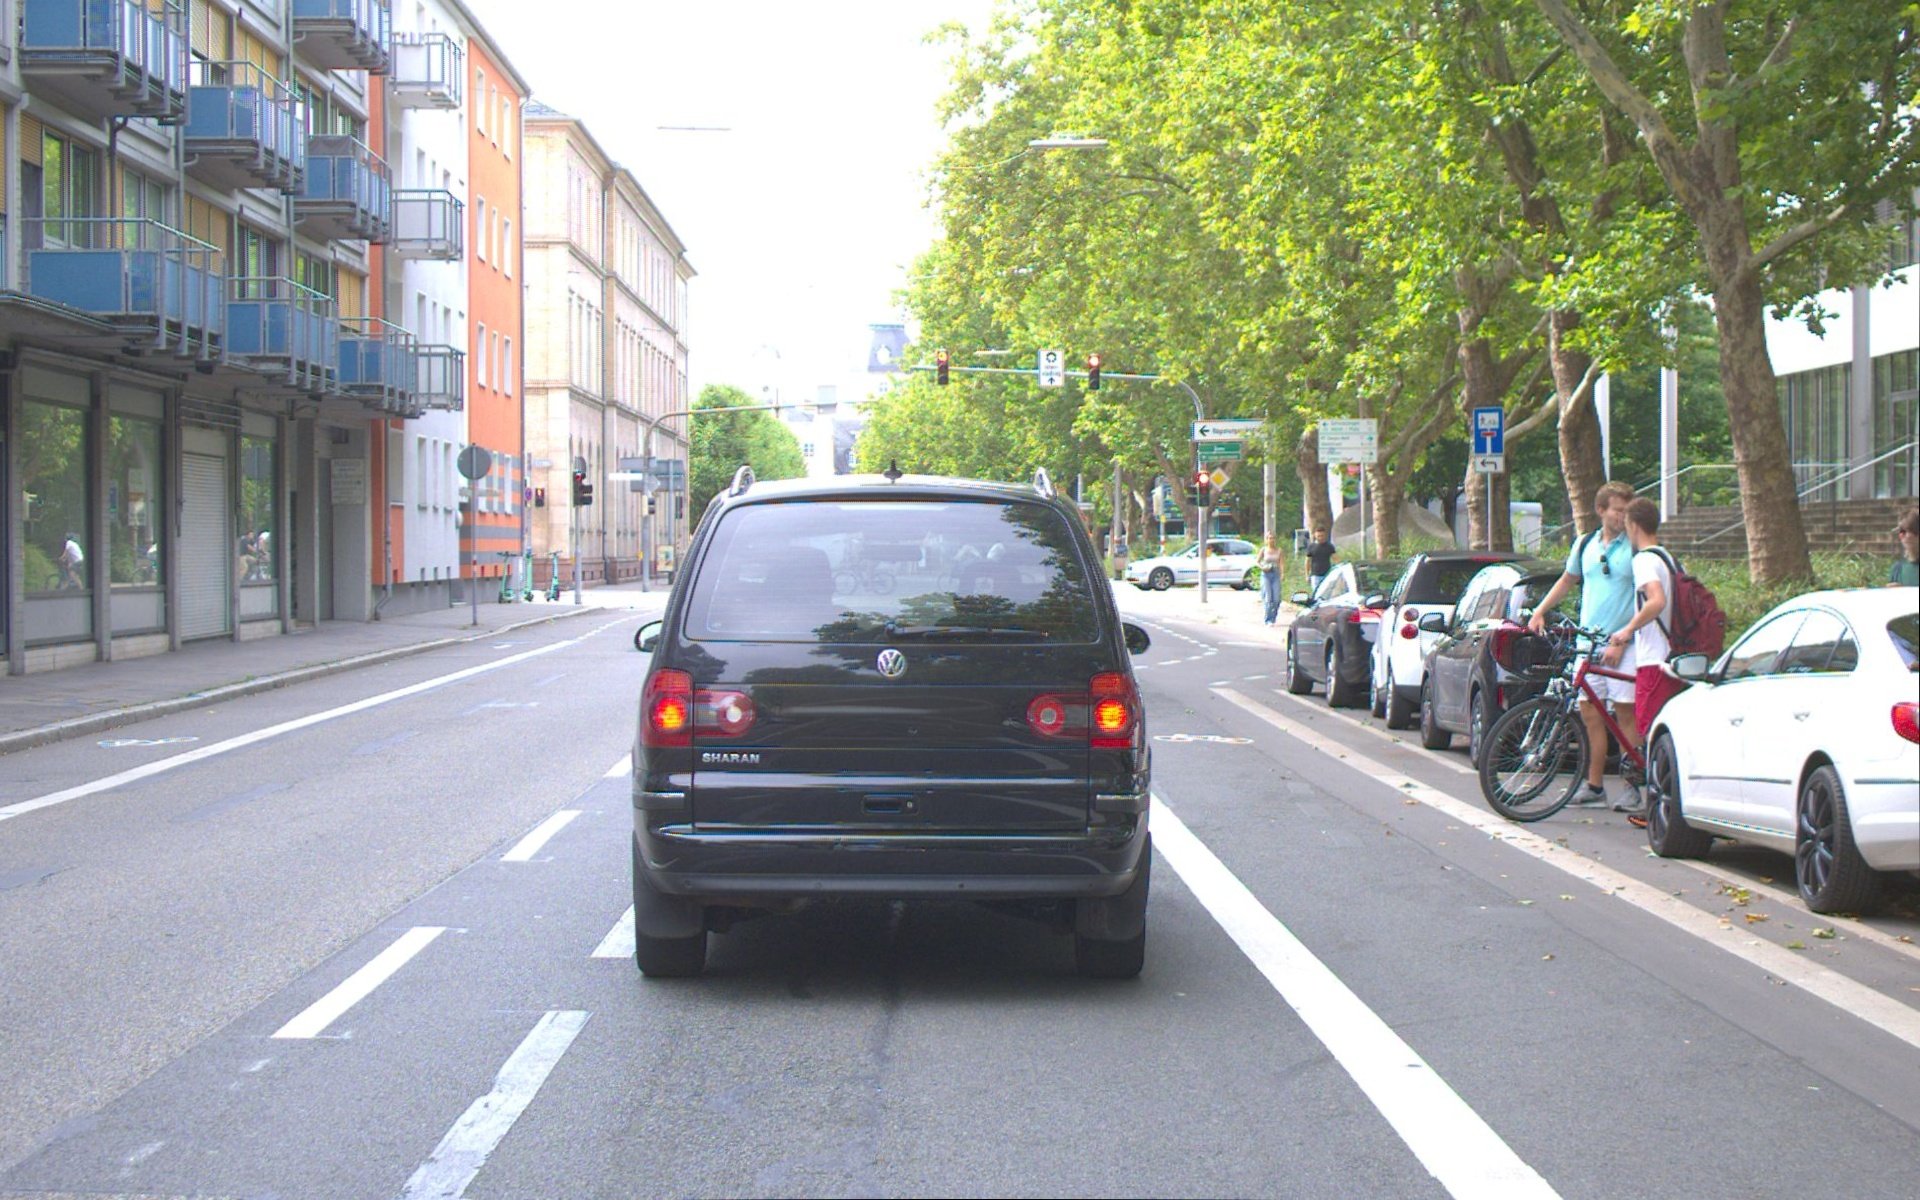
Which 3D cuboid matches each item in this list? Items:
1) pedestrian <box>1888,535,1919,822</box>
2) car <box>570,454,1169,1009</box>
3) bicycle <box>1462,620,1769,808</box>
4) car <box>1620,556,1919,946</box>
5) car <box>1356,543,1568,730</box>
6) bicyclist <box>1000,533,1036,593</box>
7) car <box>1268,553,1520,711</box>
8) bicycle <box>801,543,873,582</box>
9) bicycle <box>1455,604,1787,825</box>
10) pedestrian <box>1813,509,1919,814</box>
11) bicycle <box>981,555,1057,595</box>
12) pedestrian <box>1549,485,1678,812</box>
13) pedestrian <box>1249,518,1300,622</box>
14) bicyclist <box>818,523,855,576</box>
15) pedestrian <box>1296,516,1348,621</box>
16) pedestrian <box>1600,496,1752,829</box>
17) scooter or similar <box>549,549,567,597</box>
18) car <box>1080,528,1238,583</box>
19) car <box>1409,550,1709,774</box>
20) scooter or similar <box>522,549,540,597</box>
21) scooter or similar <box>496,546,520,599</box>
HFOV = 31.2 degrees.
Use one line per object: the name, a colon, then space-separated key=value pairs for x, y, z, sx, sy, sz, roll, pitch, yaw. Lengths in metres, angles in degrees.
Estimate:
pedestrian: x=5.893 y=0.451 z=20.088 sx=0.721 sy=1.652 sz=0.655 roll=1 pitch=1 yaw=-1
car: x=-0.338 y=0.367 z=13.086 sx=1.874 sy=1.739 sz=4.574 roll=0 pitch=1 yaw=-1
bicycle: x=3.992 y=0.692 z=20.952 sx=1.734 sy=1.102 sz=0.552 roll=1 pitch=1 yaw=-11
car: x=4.463 y=0.600 z=15.875 sx=1.680 sy=1.511 sz=4.545 roll=2 pitch=1 yaw=-3
car: x=4.386 y=0.287 z=30.329 sx=1.536 sy=1.538 sz=2.599 roll=2 pitch=1 yaw=2
bicyclist: x=1.536 y=-0.970 z=90.872 sx=0.855 sy=1.562 sz=0.577 roll=1 pitch=0 yaw=-8
car: x=4.283 y=0.271 z=34.547 sx=1.697 sy=1.420 sz=4.423 roll=1 pitch=1 yaw=-3
bicycle: x=-3.410 y=-1.040 z=95.323 sx=1.924 sy=1.025 sz=0.583 roll=1 pitch=1 yaw=-10
bicycle: x=3.775 y=0.648 z=19.643 sx=1.788 sy=1.213 sz=0.553 roll=1 pitch=1 yaw=-18
pedestrian: x=5.729 y=0.363 z=20.863 sx=0.871 sy=1.810 sz=0.780 roll=1 pitch=1 yaw=-1
bicycle: x=1.556 y=-0.654 z=90.870 sx=1.924 sy=1.025 sz=0.583 roll=1 pitch=1 yaw=-9
pedestrian: x=3.926 y=0.280 z=20.674 sx=0.474 sy=1.928 sz=0.745 roll=1 pitch=1 yaw=-11
pedestrian: x=5.510 y=-0.530 z=60.257 sx=0.710 sy=1.777 sz=1.034 roll=-2 pitch=0 yaw=-2
bicyclist: x=-3.428 y=-1.396 z=95.304 sx=0.914 sy=1.461 sz=0.570 roll=1 pitch=1 yaw=-11
pedestrian: x=6.345 y=-0.553 z=60.312 sx=0.715 sy=1.794 sz=1.034 roll=-2 pitch=0 yaw=-2
pedestrian: x=4.033 y=0.341 z=19.401 sx=0.519 sy=1.839 sz=0.745 roll=1 pitch=1 yaw=-15
scooter or similar: x=-9.857 y=-0.659 z=84.275 sx=0.378 sy=1.140 sz=1.142 roll=0 pitch=-1 yaw=-4
car: x=5.539 y=-1.248 z=95.821 sx=4.084 sy=1.422 sz=1.763 roll=-2 pitch=1 yaw=-10
car: x=4.371 y=0.402 z=25.553 sx=1.528 sy=1.496 sz=3.660 roll=2 pitch=1 yaw=0
scooter or similar: x=-10.454 y=-0.652 z=83.857 sx=0.378 sy=1.143 sz=1.142 roll=0 pitch=-1 yaw=-4
scooter or similar: x=-10.207 y=-0.620 z=77.642 sx=0.378 sy=1.179 sz=1.390 roll=0 pitch=0 yaw=-1
